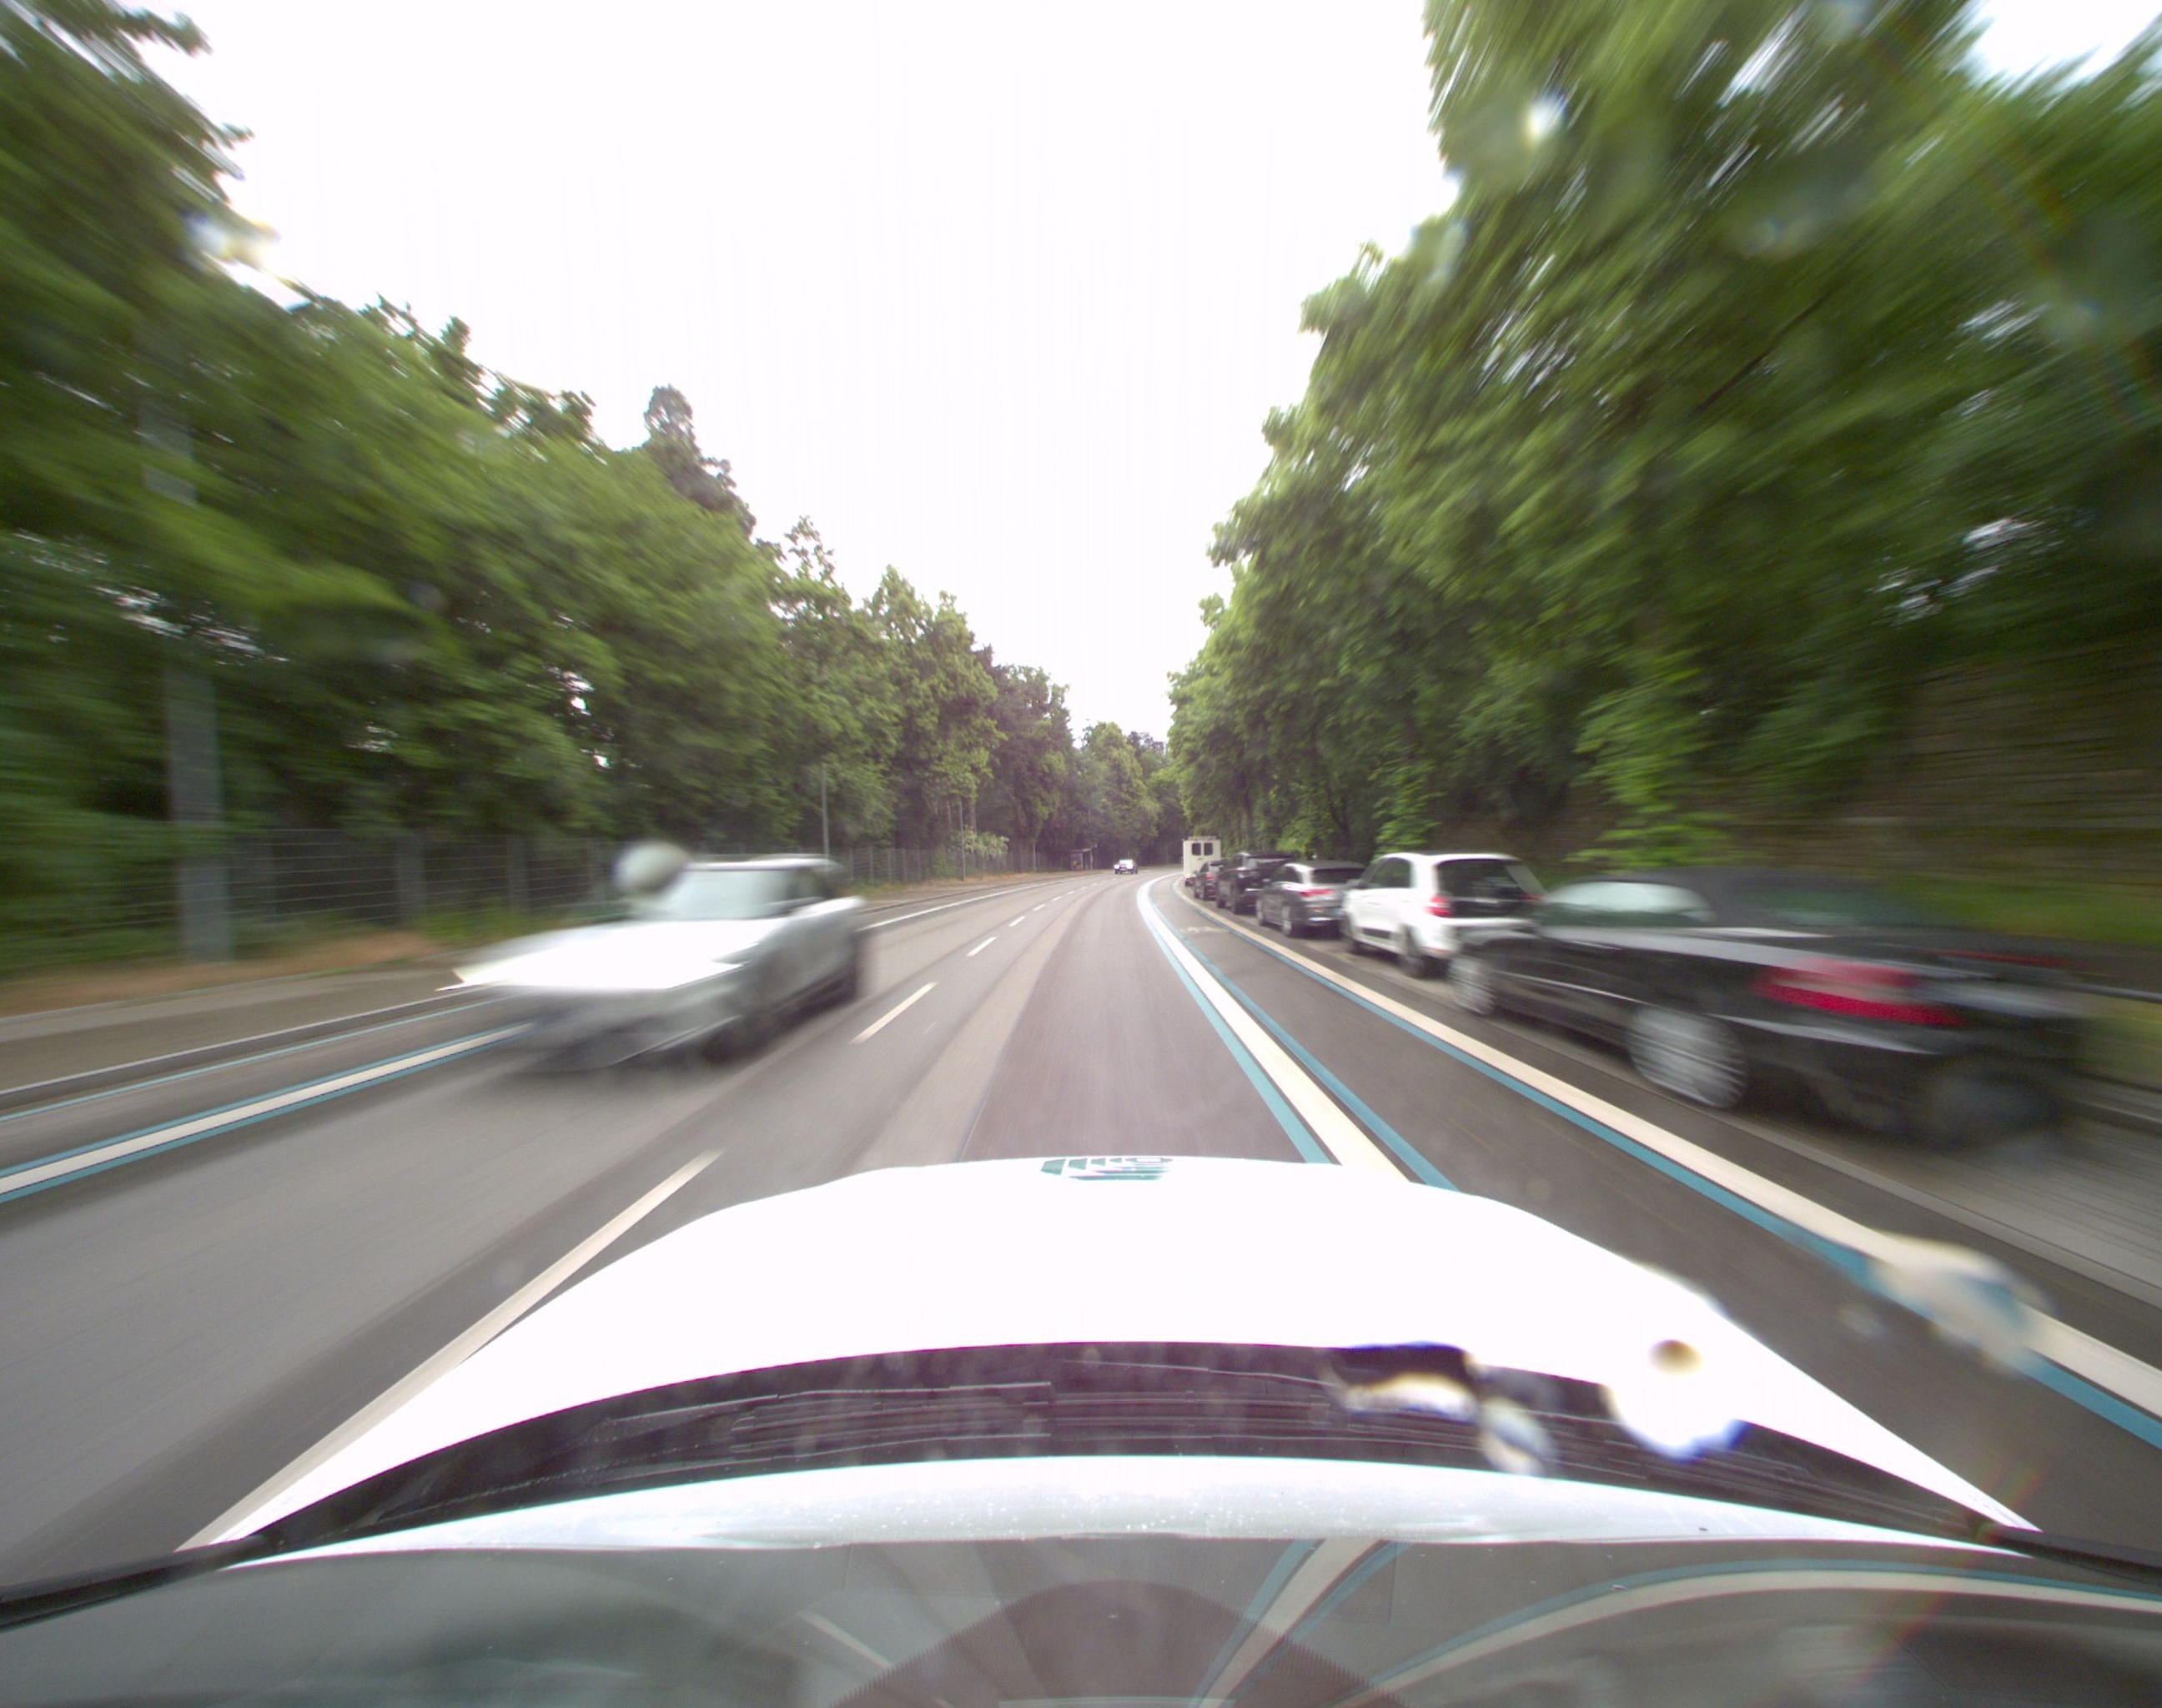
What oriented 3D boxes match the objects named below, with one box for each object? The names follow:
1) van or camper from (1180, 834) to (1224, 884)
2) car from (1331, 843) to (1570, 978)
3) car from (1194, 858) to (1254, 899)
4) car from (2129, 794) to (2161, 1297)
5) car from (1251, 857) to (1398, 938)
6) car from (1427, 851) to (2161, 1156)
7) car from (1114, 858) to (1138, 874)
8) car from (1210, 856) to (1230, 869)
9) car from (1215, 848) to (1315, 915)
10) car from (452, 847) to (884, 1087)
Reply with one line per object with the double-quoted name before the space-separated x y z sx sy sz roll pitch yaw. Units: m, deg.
"van or camper" 7.005 0.277 47.204 2.304 2.664 6.397 -1 0 8
"car" 4.832 0.663 11.265 1.655 1.535 3.742 -1 0 1
"car" 5.265 0.897 30.422 1.671 1.376 4.002 -2 -1 3
"car" 4.322 0.583 0.550 1.708 1.619 4.260 -2 0 0
"car" 4.644 0.778 16.214 1.767 1.348 4.469 -1 -1 3
"car" 4.421 0.756 6.107 1.712 1.376 4.558 -2 -2 0
"car" 4.541 1.179 81.622 1.749 1.437 4.163 -1 0 11
"car" 16.212 0.949 94.905 1.845 1.428 4.669 0 0 16
"car" 5.042 0.759 22.935 1.985 1.645 4.351 -2 -1 3
"car" -3.318 0.785 7.594 1.789 1.576 4.104 -2 -1 2
